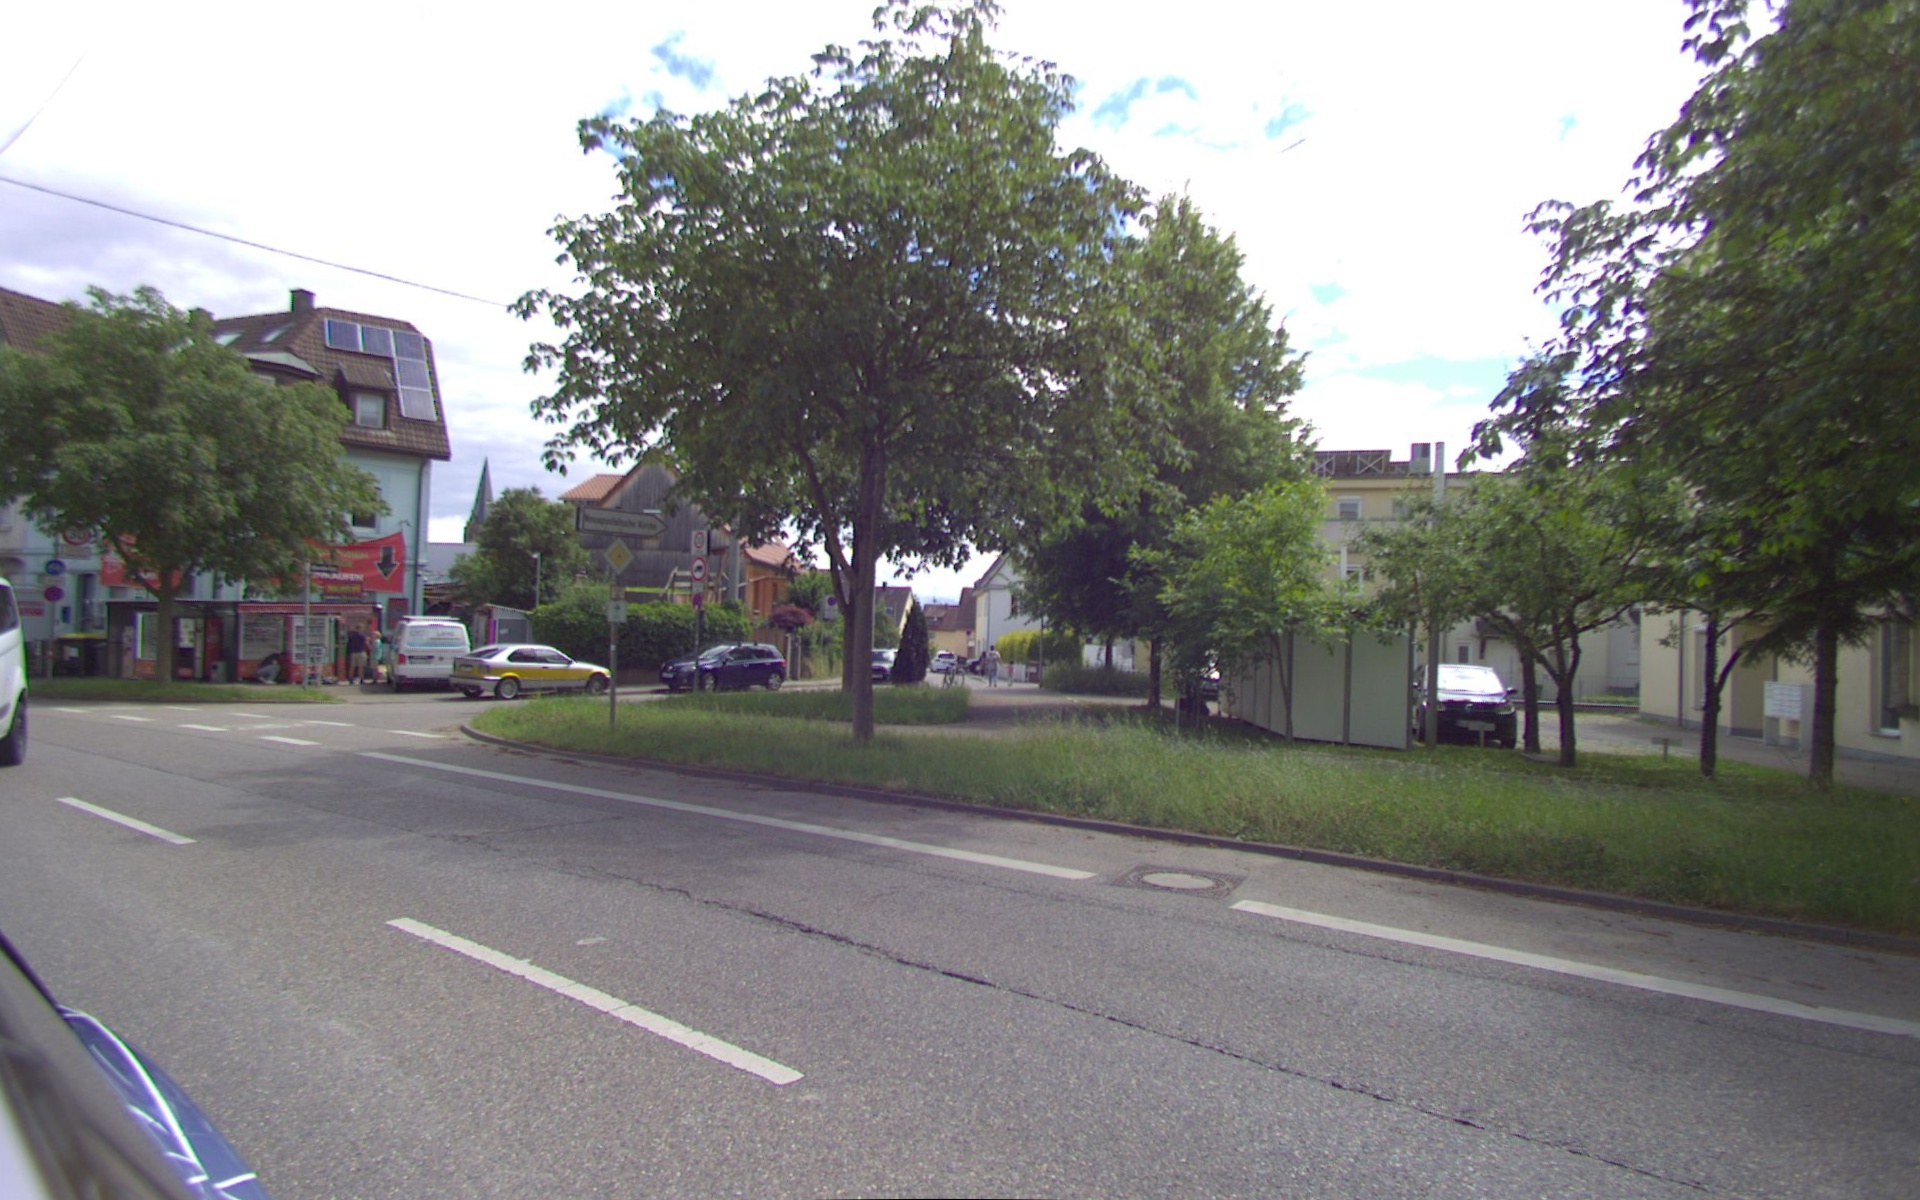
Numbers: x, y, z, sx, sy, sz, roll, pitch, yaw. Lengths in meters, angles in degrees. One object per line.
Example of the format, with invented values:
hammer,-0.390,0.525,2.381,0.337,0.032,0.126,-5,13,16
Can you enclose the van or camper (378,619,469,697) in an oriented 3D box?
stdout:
van or camper,-15.343,1.581,28.822,1.761,2.009,4.391,3,-2,-34

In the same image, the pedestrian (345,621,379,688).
pedestrian,-17.424,1.583,29.496,0.558,1.910,0.623,1,-1,9

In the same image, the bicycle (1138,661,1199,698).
bicycle,8.582,3.270,41.733,2.393,1.375,0.512,1,-1,22

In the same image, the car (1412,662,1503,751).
car,9.352,1.936,19.174,1.424,1.461,3.369,1,-3,24

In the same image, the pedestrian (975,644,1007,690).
pedestrian,1.140,2.454,37.101,0.812,1.607,0.727,-6,-6,34

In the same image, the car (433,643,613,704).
car,-11.392,1.870,26.628,1.810,1.424,3.985,1,-2,32

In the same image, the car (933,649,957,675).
car,-1.081,4.345,71.007,1.571,1.570,3.629,2,-1,-1

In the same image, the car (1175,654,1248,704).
car,7.781,2.428,31.162,1.820,1.408,3.387,1,-4,20

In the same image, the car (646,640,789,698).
car,-7.292,2.057,30.750,1.813,1.560,3.951,2,-1,37

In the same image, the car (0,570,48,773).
car,-10.028,0.719,8.906,2.073,2.008,5.244,-2,0,-32

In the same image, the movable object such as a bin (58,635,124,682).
movable object such as a bin,-26.465,1.757,30.841,1.237,1.365,1.017,1,-1,19

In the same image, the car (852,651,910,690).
car,-3.187,2.847,41.503,1.575,1.332,3.768,2,-1,8

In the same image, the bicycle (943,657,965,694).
bicycle,-0.181,2.050,27.720,0.457,0.866,2.227,1,-1,-4
